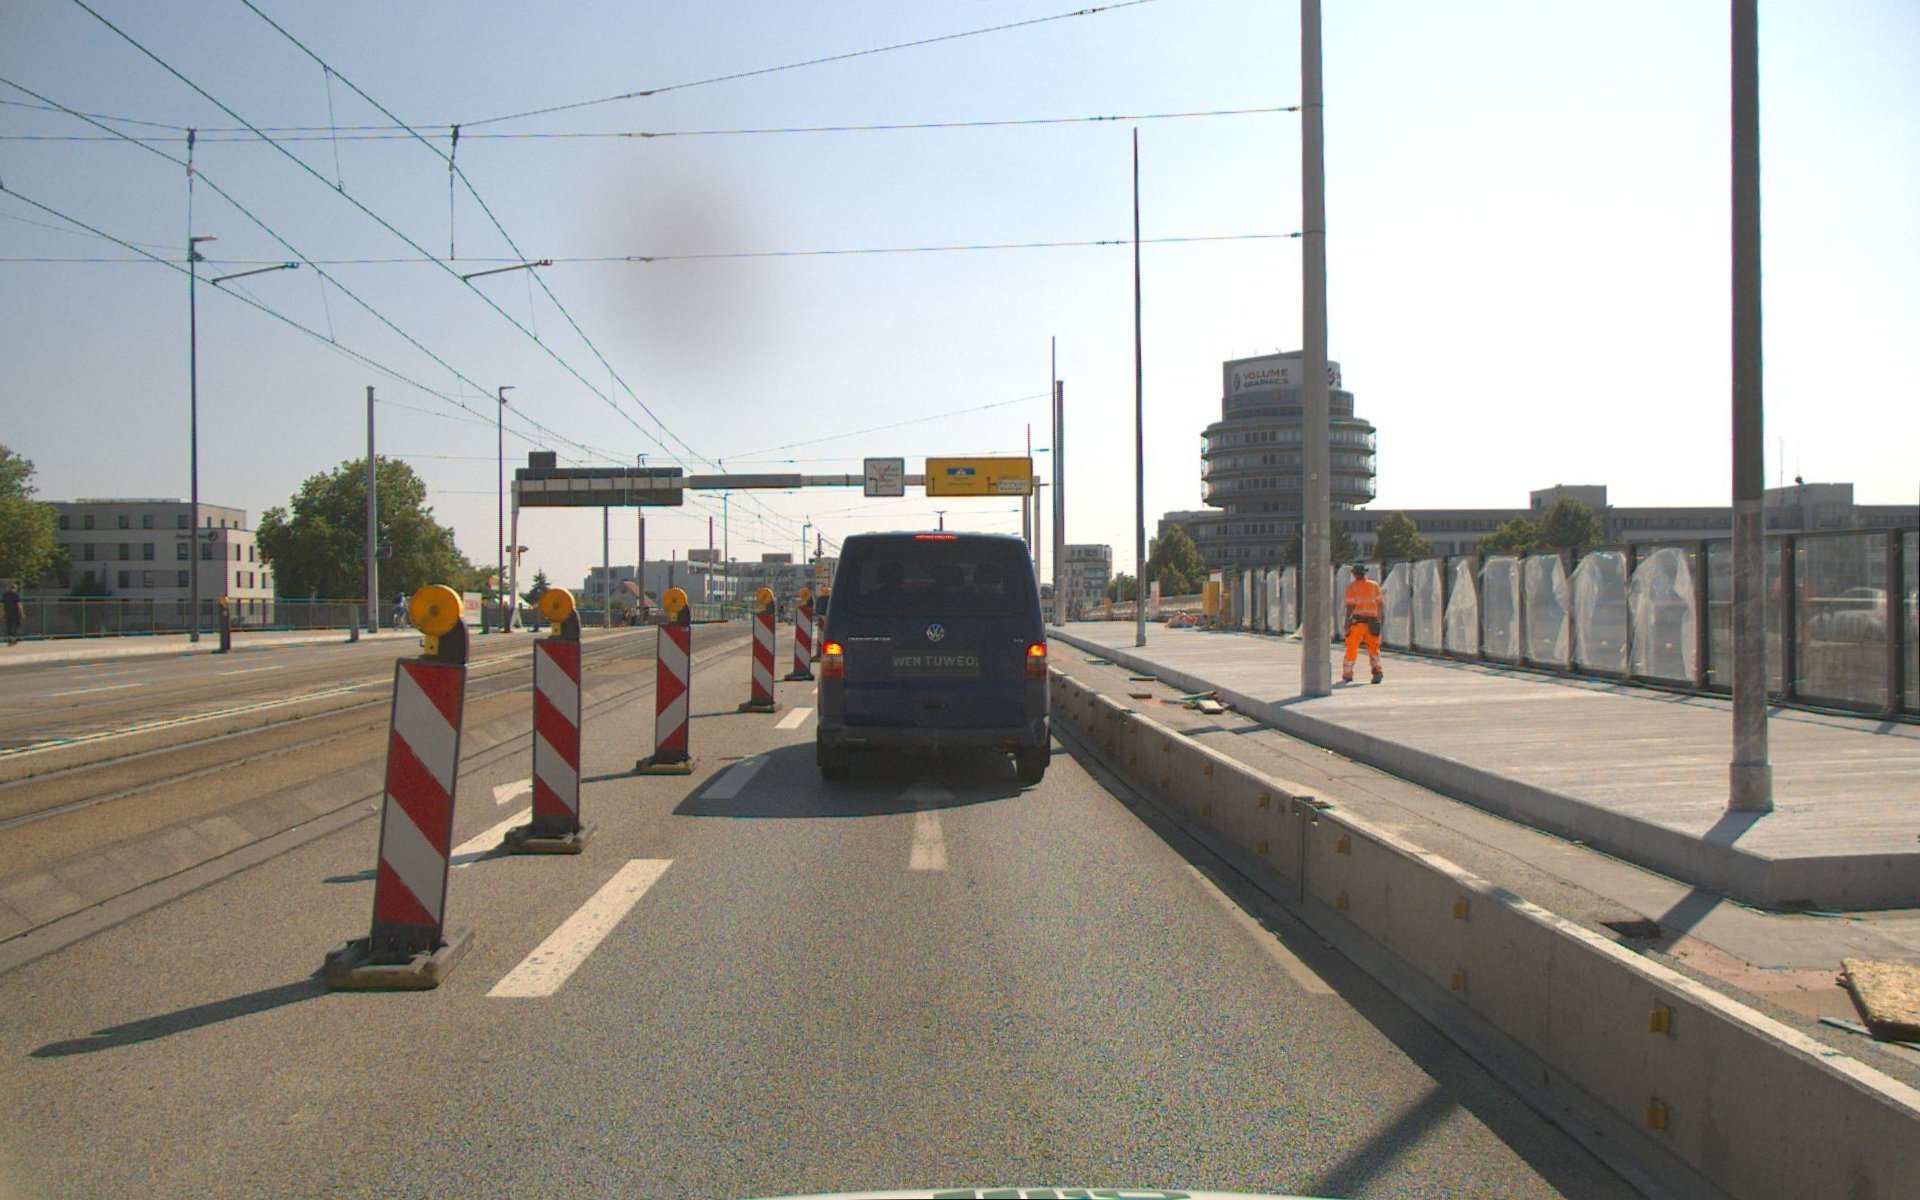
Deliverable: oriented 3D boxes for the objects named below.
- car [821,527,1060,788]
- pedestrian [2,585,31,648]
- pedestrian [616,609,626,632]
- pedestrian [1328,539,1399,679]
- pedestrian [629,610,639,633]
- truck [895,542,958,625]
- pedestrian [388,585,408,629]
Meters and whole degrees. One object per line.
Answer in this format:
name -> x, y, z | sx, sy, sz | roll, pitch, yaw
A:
car -> -0.253, 0.413, 14.393 | 1.779, 1.939, 4.052 | 0, 0, -3
pedestrian -> -26.243, 0.459, 46.007 | 0.485, 1.724, 0.474 | 1, -1, -2
pedestrian -> -26.865, 1.594, 131.191 | 0.621, 1.783, 0.752 | 0, 0, -2
pedestrian -> 5.813, 0.125, 23.863 | 0.766, 1.969, 0.799 | -2, 0, -2
pedestrian -> -25.884, 1.670, 131.358 | 0.621, 1.805, 0.752 | 0, 0, -2
truck -> -1.440, -0.737, 69.626 | 2.410, 3.189, 11.213 | -1, 1, -1
pedestrian -> -24.945, 0.319, 73.394 | 0.621, 1.926, 0.752 | 0, 0, -2
